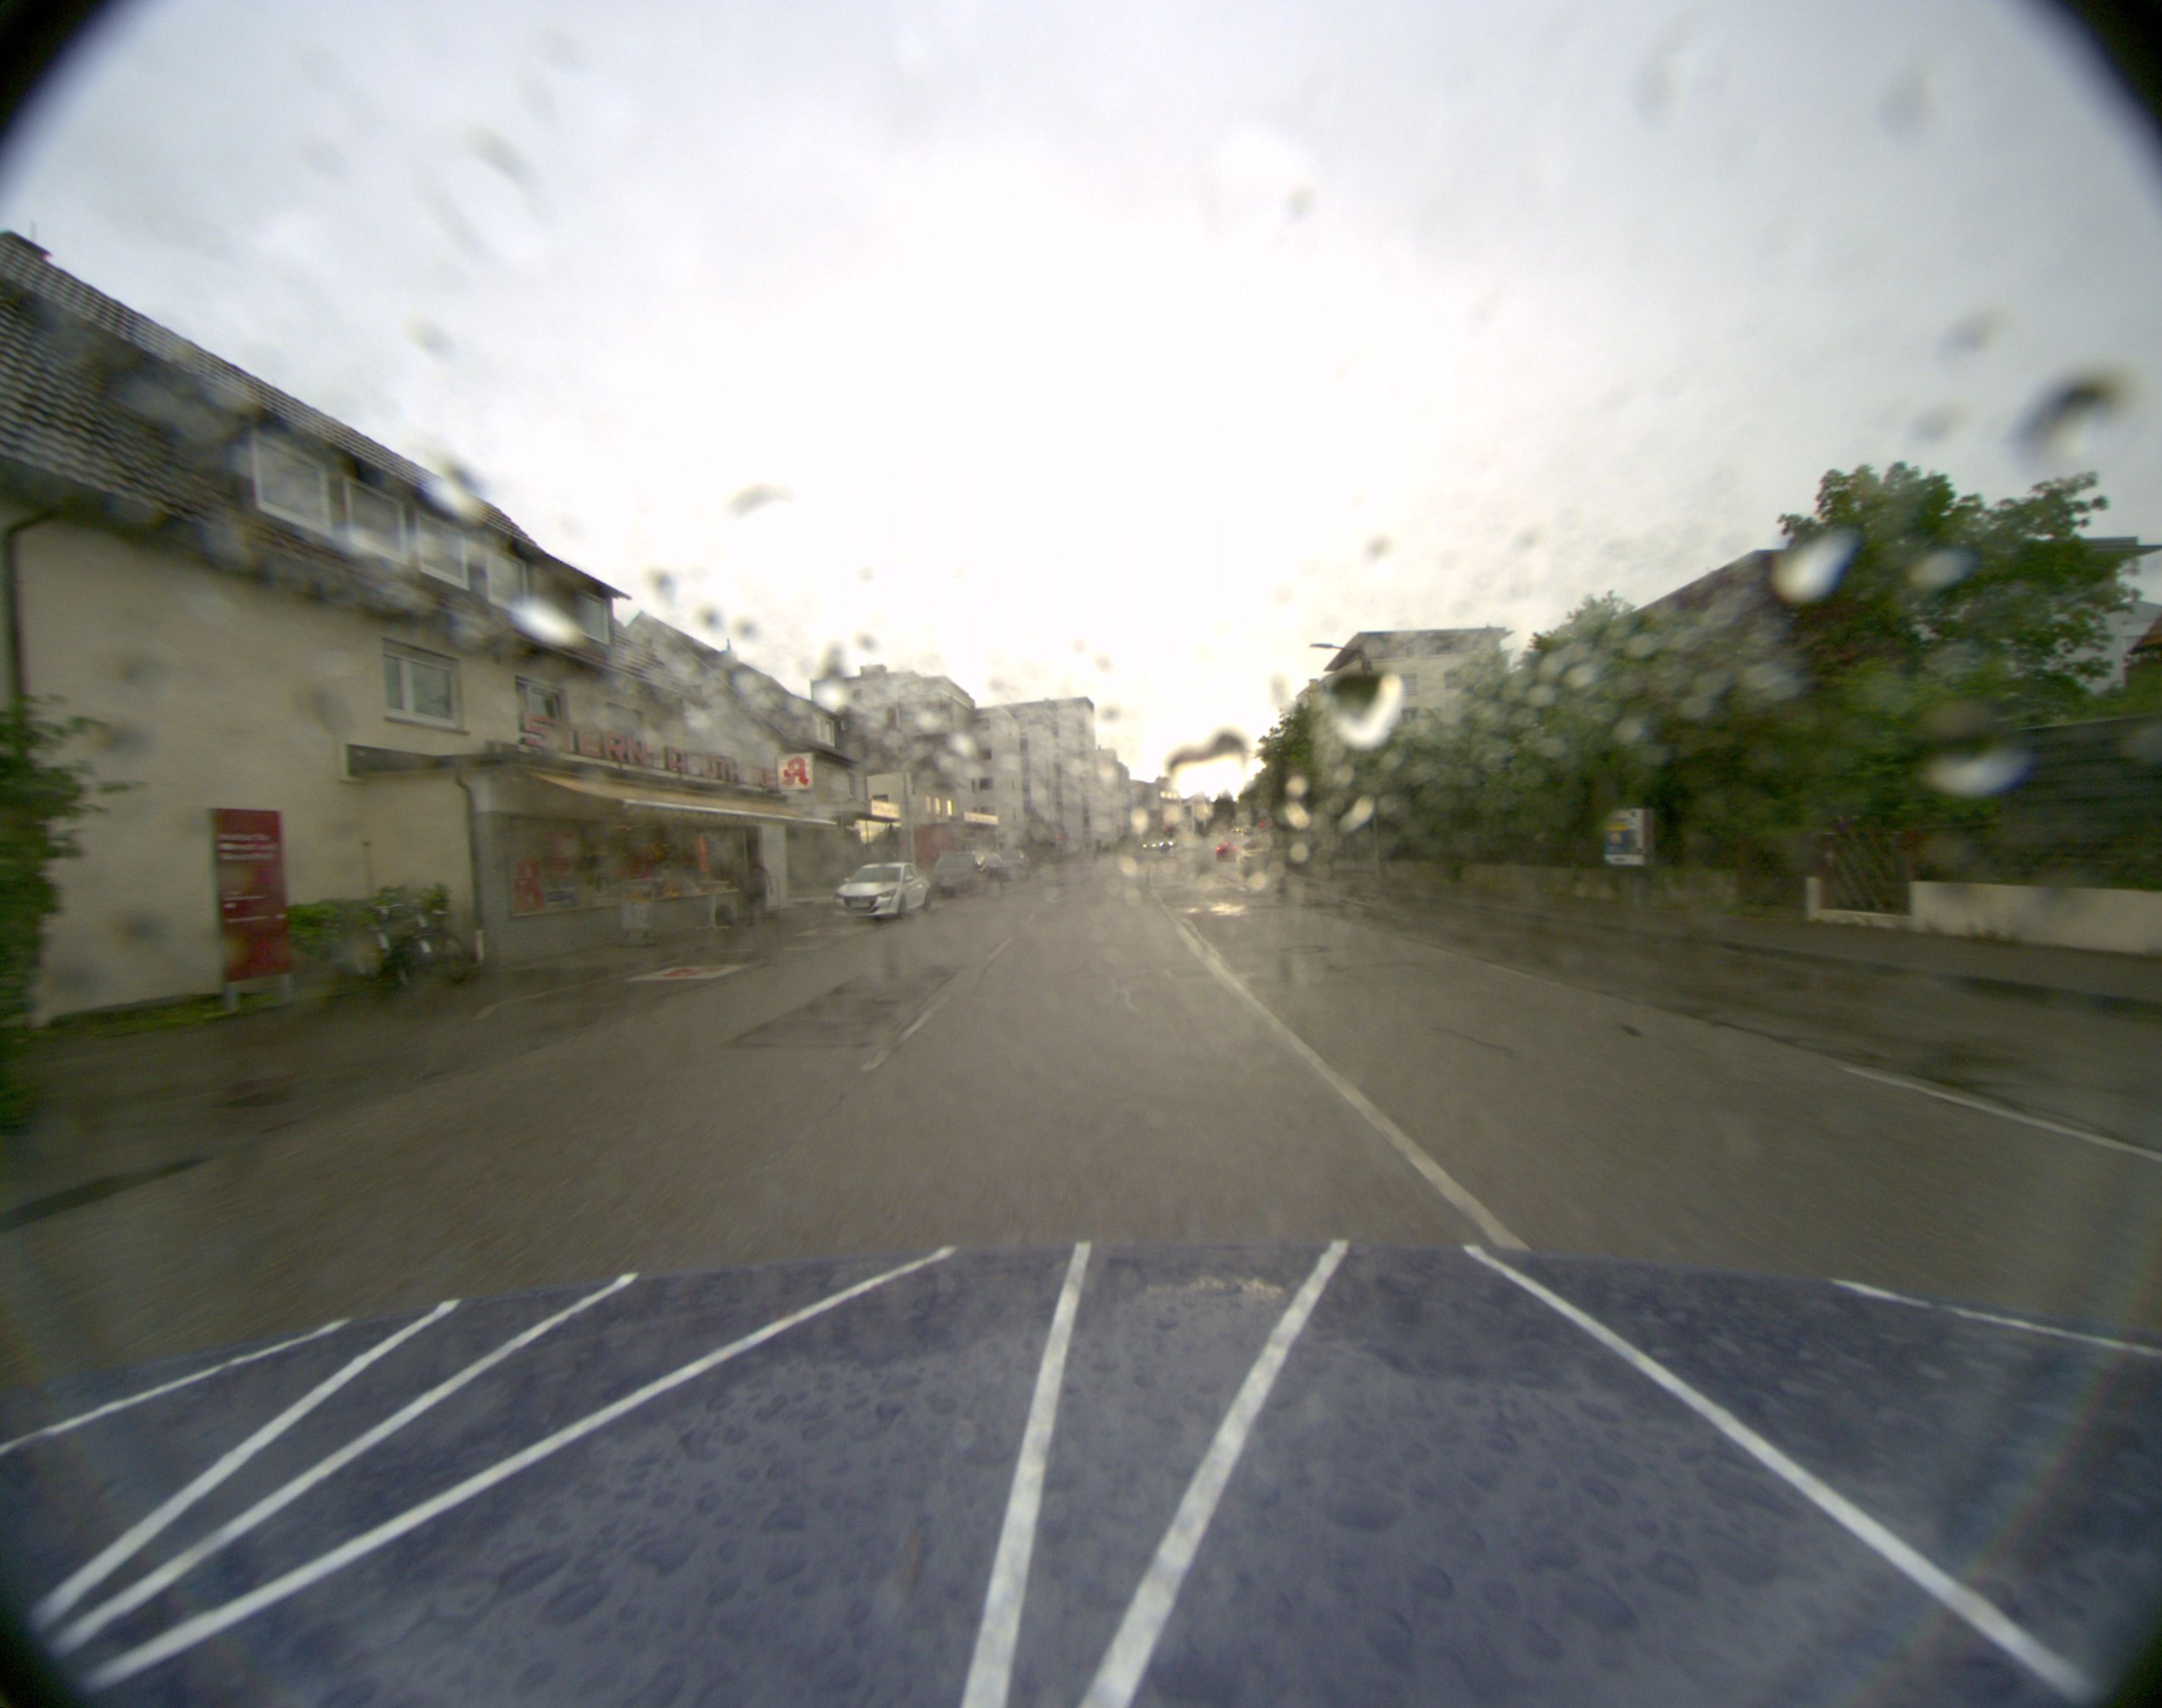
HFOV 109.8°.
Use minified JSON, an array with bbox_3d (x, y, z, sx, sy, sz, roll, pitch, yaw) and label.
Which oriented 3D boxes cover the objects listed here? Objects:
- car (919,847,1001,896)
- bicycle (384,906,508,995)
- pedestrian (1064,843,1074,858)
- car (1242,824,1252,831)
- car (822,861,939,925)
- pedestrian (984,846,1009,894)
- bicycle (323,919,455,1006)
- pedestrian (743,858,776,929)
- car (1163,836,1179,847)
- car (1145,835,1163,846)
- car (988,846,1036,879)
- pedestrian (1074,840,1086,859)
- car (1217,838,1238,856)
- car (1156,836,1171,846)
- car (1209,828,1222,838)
[{"bbox_3d":[-4.714,0.627,30.431,2.040,1.686,4.963,-1,2,5],"label":"car"},{"bbox_3d":[-8.910,1.318,10.663,1.647,1.042,0.623,2,3,22],"label":"bicycle"},{"bbox_3d":[-1.240,-0.376,80.138,0.754,1.559,0.993,-5,2,9],"label":"pedestrian"},{"bbox_3d":[38.648,-6.198,176.635,1.691,1.546,3.910,-5,2,18],"label":"car"},{"bbox_3d":[-5.352,0.981,20.890,1.819,1.440,4.203,-1,1,4],"label":"car"},{"bbox_3d":[-3.341,0.637,30.064,0.622,1.880,0.648,-2,2,39],"label":"pedestrian"},{"bbox_3d":[-9.136,1.399,10.024,1.647,0.928,0.623,2,2,22],"label":"bicycle"},{"bbox_3d":[-7.789,0.948,18.406,0.552,1.669,0.515,-4,2,-33],"label":"pedestrian"},{"bbox_3d":[15.160,-2.116,127.891,1.896,1.536,4.024,-4,1,16],"label":"car"},{"bbox_3d":[10.901,-2.005,113.356,1.739,1.477,4.153,-3,1,18],"label":"car"},{"bbox_3d":[-3.891,0.440,43.475,1.879,1.633,4.792,-1,2,5],"label":"car"},{"bbox_3d":[-0.102,-0.415,72.864,0.667,1.693,0.948,-3,2,28],"label":"pedestrian"},{"bbox_3d":[13.093,-0.663,68.196,1.778,1.498,4.106,-1,2,10],"label":"car"},{"bbox_3d":[13.048,-2.065,120.383,1.752,1.470,4.003,-4,1,14],"label":"car"},{"bbox_3d":[30.961,-4.869,174.854,1.996,2.002,4.003,-7,1,19],"label":"car"}]
